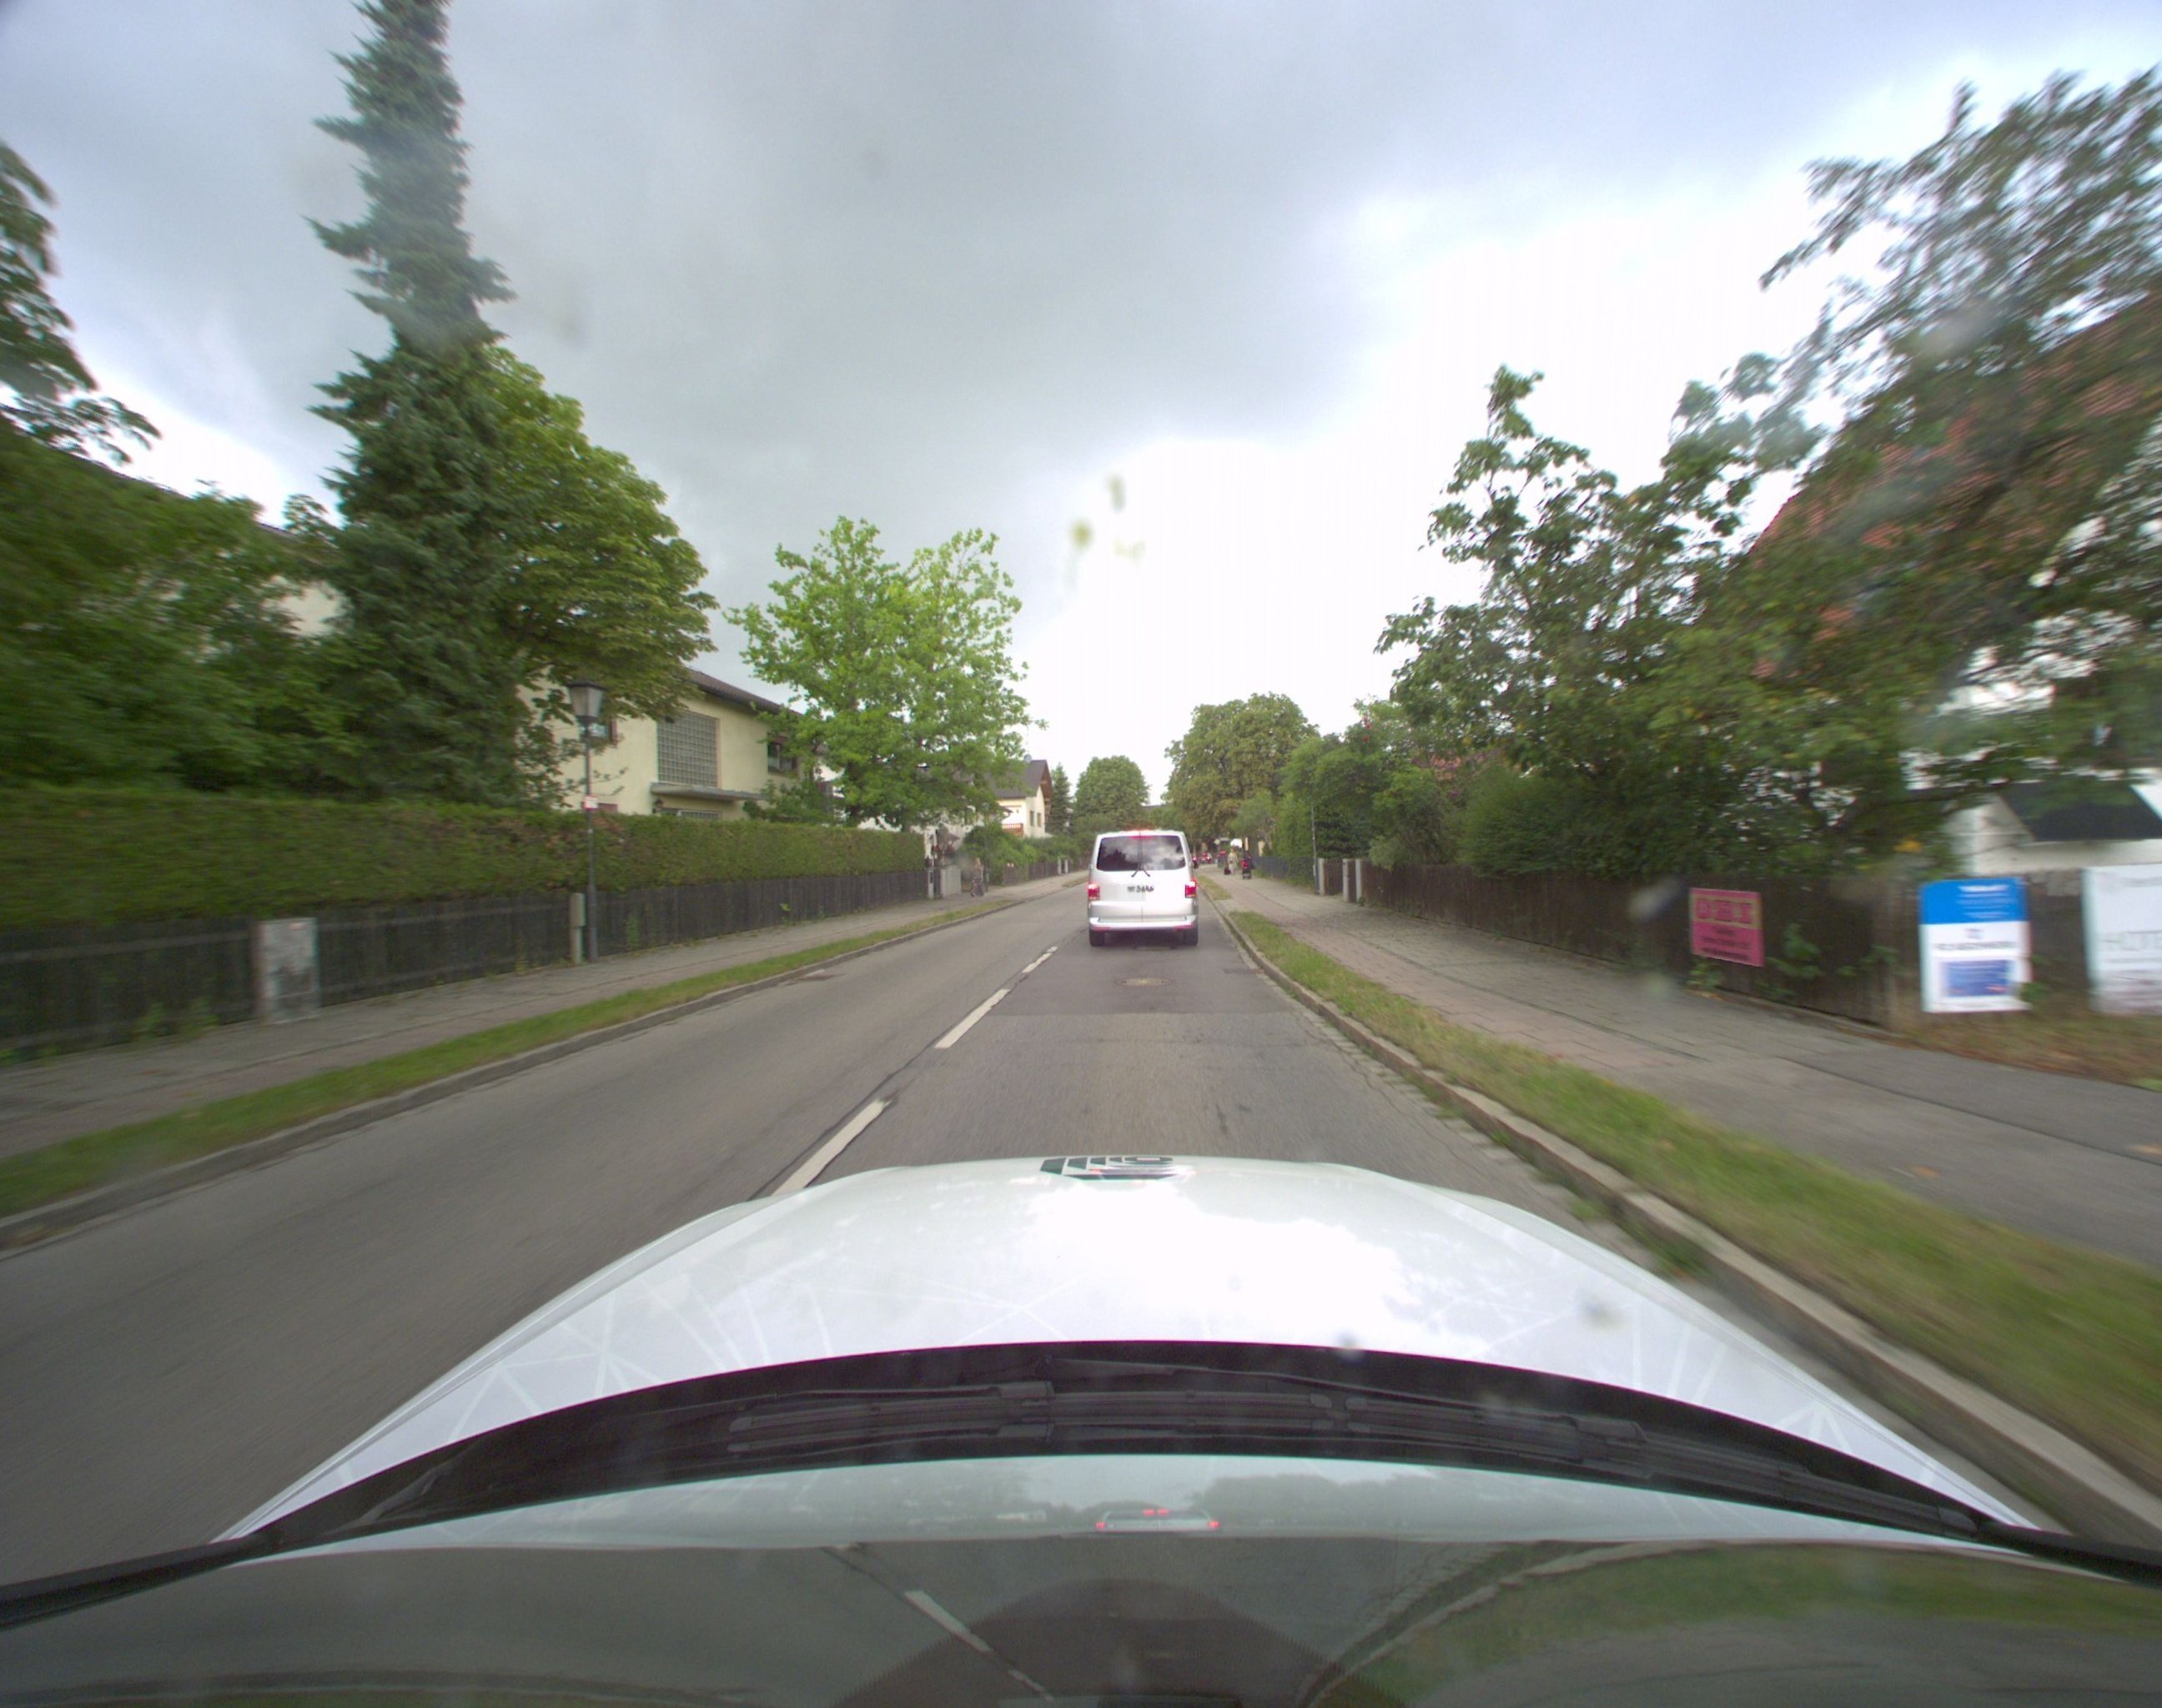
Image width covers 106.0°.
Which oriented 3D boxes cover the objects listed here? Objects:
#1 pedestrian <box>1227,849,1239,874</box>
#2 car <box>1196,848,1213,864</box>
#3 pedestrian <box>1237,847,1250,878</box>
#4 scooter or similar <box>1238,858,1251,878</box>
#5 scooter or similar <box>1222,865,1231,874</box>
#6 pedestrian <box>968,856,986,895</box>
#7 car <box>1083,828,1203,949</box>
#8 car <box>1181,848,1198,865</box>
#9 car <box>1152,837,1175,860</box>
[{"bbox_3d":[9.254,0.463,49.555,0.620,1.523,0.579,0,-1,2],"label":"pedestrian"},{"bbox_3d":[17.080,0.272,112.141,1.980,2.013,4.014,-2,0,13],"label":"car"},{"bbox_3d":[8.233,0.420,41.363,0.549,1.549,0.612,0,-1,2],"label":"pedestrian"},{"bbox_3d":[8.171,0.699,40.661,0.549,0.971,0.620,0,-1,2],"label":"scooter or similar"},{"bbox_3d":[8.975,0.962,50.151,0.472,0.545,0.459,0,0,2],"label":"scooter or similar"},{"bbox_3d":[-4.091,0.845,32.120,0.620,1.549,0.523,0,-1,2],"label":"pedestrian"},{"bbox_3d":[1.181,0.561,15.007,1.878,1.912,4.006,-1,0,5],"label":"car"},{"bbox_3d":[13.619,0.335,102.088,1.982,2.013,4.010,-2,0,9],"label":"car"},{"bbox_3d":[7.430,-0.442,73.175,1.983,2.014,4.008,0,0,7],"label":"car"}]
